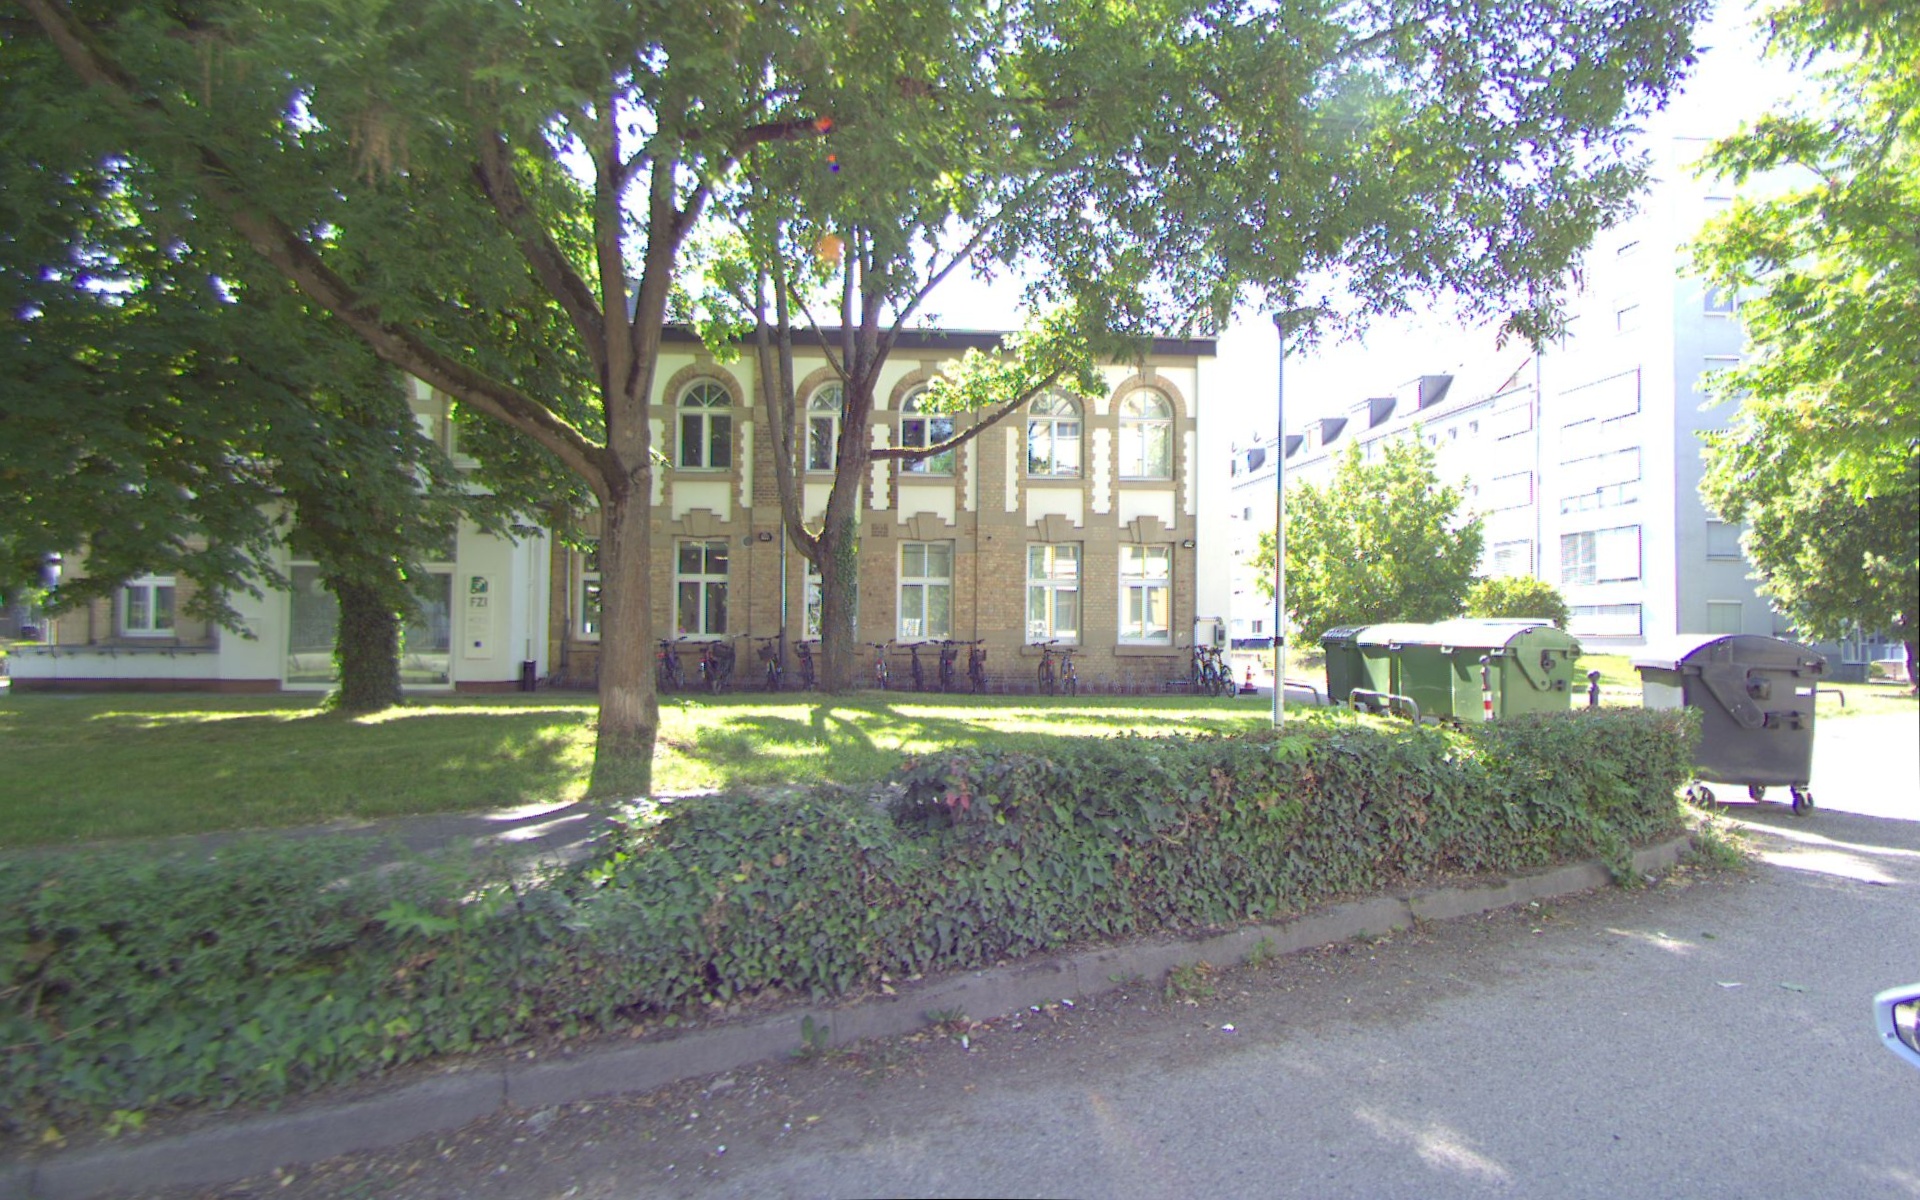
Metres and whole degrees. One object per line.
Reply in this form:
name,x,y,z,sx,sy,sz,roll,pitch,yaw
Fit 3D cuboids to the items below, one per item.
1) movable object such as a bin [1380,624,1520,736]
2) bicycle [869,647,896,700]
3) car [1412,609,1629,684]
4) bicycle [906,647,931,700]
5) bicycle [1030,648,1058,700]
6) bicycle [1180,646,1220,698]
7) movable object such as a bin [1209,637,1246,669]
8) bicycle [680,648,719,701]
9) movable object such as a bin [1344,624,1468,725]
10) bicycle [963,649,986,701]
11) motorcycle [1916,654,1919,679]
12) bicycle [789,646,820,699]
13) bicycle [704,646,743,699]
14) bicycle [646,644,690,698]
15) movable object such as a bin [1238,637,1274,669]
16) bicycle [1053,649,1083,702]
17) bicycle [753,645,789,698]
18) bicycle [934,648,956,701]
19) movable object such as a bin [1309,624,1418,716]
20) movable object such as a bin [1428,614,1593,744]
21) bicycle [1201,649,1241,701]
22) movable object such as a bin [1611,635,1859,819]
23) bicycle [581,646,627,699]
movable object such as a bin,6.680,1.060,13.757,1.227,1.450,1.220,1,-2,-14
bicycle,-1.575,1.485,20.627,0.437,1.005,1.541,0,-1,0
car,15.511,1.294,27.982,4.942,1.958,2.000,1,-2,-2
bicycle,-0.844,1.501,20.750,0.437,1.005,1.541,0,-1,0
bicycle,1.735,1.514,20.848,0.437,1.005,1.666,0,-1,0
bicycle,5.044,1.496,21.190,0.437,1.005,1.630,0,-1,0
movable object such as a bin,11.520,2.275,43.258,1.227,1.336,1.143,-2,-3,-1
bicycle,-5.278,1.491,20.431,0.367,1.002,1.600,0,-2,0
movable object such as a bin,6.682,1.094,15.147,1.224,1.450,1.365,0,-2,-3
bicycle,0.288,1.536,20.810,0.437,1.005,1.541,0,-1,0
motorcycle,48.502,3.298,49.582,2.022,1.263,0.630,1,-1,-2
bicycle,-3.178,1.459,20.577,0.437,1.005,1.541,0,-1,-2
bicycle,-4.805,1.456,20.460,0.437,1.005,1.541,0,-1,0
bicycle,-5.890,1.413,20.333,0.437,1.005,1.541,0,-1,0
movable object such as a bin,12.782,2.297,43.426,1.226,1.358,1.142,0,-2,0
bicycle,2.226,1.543,20.895,0.437,1.005,1.685,0,-1,0
bicycle,-3.836,1.436,20.440,0.437,1.005,1.541,0,-1,0
bicycle,-0.301,1.522,20.779,0.437,1.005,1.541,0,-1,0
movable object such as a bin,6.655,1.140,16.658,1.224,1.450,1.349,0,-2,-3
movable object such as a bin,6.719,0.936,12.353,1.225,1.501,1.337,1,-2,-8
bicycle,5.520,1.572,21.268,0.437,1.005,1.541,0,-1,0
movable object such as a bin,6.558,1.014,8.640,1.223,1.415,1.405,0,-2,15
bicycle,-7.184,1.446,20.316,0.437,1.005,1.540,2,-3,-4
